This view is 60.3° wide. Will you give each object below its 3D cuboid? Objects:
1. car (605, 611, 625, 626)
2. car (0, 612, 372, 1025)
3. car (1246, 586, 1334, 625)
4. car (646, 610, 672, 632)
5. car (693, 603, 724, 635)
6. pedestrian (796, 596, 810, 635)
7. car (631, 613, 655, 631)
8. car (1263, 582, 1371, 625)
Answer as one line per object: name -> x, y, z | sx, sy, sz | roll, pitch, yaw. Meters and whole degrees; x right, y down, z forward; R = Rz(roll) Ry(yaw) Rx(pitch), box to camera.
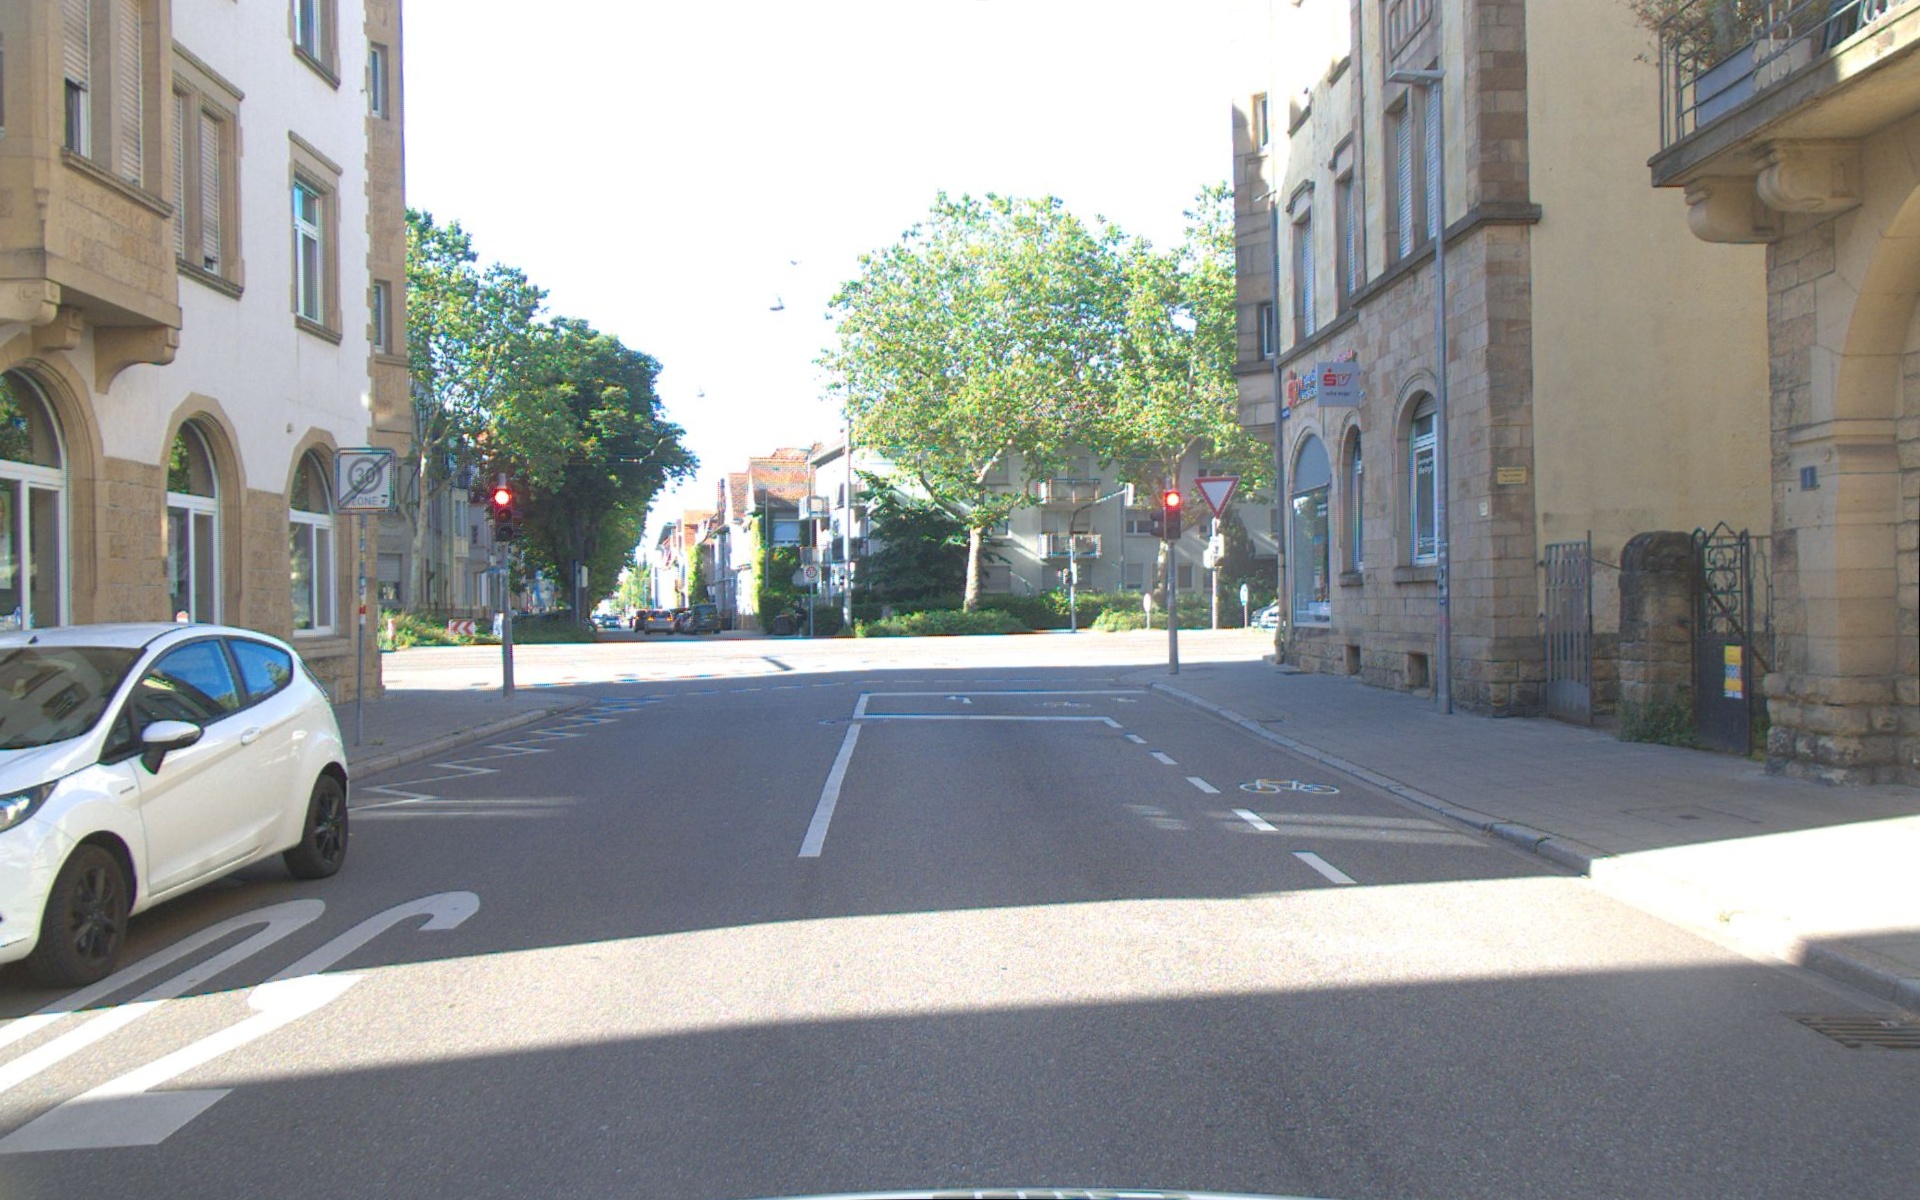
car -> -37.107, 1.965, 177.880 | 1.960, 1.471, 3.985 | -1, 0, -14
car -> -4.330, 0.837, 7.941 | 1.600, 1.489, 3.735 | -1, 0, 1
car -> 13.871, 0.233, 69.512 | 3.333, 1.513, 1.515 | -2, 0, -22
car -> -20.793, 1.451, 114.214 | 1.645, 1.508, 3.510 | 0, -1, -13
car -> -16.821, 1.244, 110.681 | 1.957, 2.049, 3.991 | -1, 0, -10
pedestrian -> -7.238, 0.704, 76.219 | 0.620, 1.780, 0.658 | 0, -1, -4
car -> -26.004, 1.770, 135.559 | 1.708, 1.360, 3.821 | -1, 0, -13
car -> 13.552, 0.120, 62.755 | 3.731, 1.498, 1.620 | -2, 0, -20
